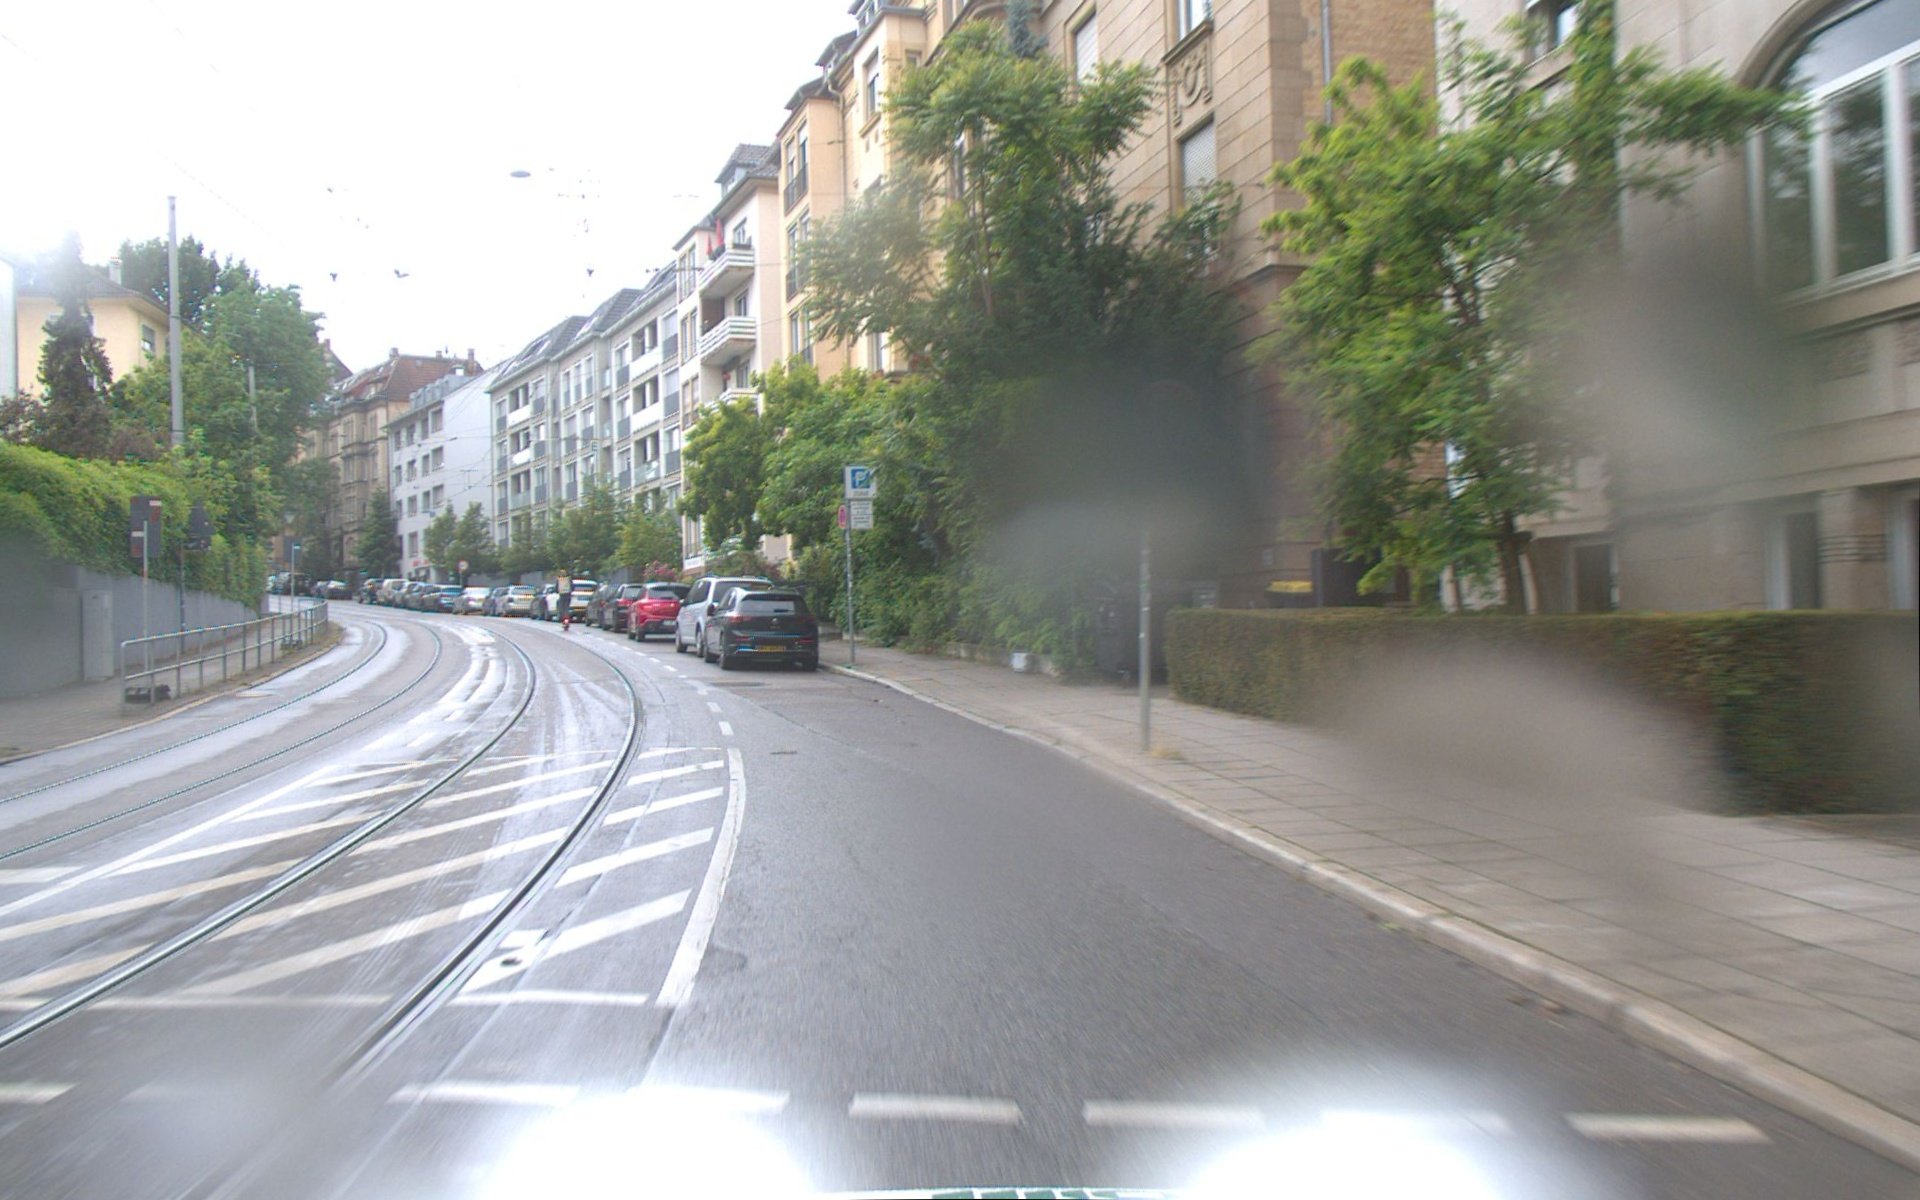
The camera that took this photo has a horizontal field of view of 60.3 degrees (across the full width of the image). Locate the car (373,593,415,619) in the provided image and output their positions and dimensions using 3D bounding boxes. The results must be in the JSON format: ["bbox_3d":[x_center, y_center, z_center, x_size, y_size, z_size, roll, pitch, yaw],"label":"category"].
[{"bbox_3d":[-39.078,0.432,114.155,1.750,1.713,4.200,1,0,-32],"label":"car"}]

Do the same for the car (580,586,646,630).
[{"bbox_3d":[-11.934,0.262,56.664,1.534,1.462,4.275,0,0,-21],"label":"car"}]

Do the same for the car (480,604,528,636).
[{"bbox_3d":[-23.051,1.010,83.615,1.681,1.538,3.683,1,0,-26],"label":"car"}]

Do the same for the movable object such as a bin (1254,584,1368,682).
[{"bbox_3d":[5.093,0.472,24.062,1.197,1.331,1.163,-2,0,-15],"label":"movable object such as a bin"}]

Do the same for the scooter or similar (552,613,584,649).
[{"bbox_3d":[-12.305,0.966,51.879,0.507,1.068,1.992,2,-1,-26],"label":"scooter or similar"}]

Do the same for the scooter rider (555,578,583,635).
[{"bbox_3d":[-12.238,0.204,51.753,0.615,1.735,0.837,2,-1,-27],"label":"scooter rider"}]

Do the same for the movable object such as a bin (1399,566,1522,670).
[{"bbox_3d":[7.443,0.263,24.637,1.210,1.449,1.303,-3,0,-15],"label":"movable object such as a bin"}]

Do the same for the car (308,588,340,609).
[{"bbox_3d":[-51.529,-0.128,133.972,1.635,1.562,3.844,-3,2,-33],"label":"car"}]

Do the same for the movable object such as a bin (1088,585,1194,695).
[{"bbox_3d":[2.523,0.543,23.086,1.208,1.427,0.817,-3,2,-22],"label":"movable object such as a bin"}]

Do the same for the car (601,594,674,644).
[{"bbox_3d":[-9.992,0.558,51.053,1.658,1.462,4.041,0,0,-20],"label":"car"}]

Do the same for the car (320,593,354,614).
[{"bbox_3d":[-48.972,0.268,129.923,1.749,1.544,4.095,1,0,-31],"label":"car"}]

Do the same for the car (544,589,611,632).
[{"bbox_3d":[-14.976,0.396,64.576,1.813,1.600,4.217,2,0,-23],"label":"car"}]

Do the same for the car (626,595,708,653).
[{"bbox_3d":[-7.769,0.594,43.585,1.694,1.462,3.823,0,0,-17],"label":"car"}]

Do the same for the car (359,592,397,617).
[{"bbox_3d":[-41.677,0.318,118.361,1.749,1.713,4.203,1,0,-31],"label":"car"}]

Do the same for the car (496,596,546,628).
[{"bbox_3d":[-21.134,0.607,79.564,1.640,1.497,4.473,1,-1,-24],"label":"car"}]

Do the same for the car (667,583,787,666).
[{"bbox_3d":[-5.072,0.489,35.575,1.739,1.631,4.264,-2,0,-19],"label":"car"}]

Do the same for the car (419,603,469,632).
[{"bbox_3d":[-30.881,1.053,98.937,1.751,1.643,4.197,-1,0,-34],"label":"car"}]

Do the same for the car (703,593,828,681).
[{"bbox_3d":[-3.665,0.630,30.568,1.736,1.415,3.984,0,1,-15],"label":"car"}]

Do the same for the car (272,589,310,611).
[{"bbox_3d":[-57.307,-0.019,141.623,2.011,1.856,4.313,1,0,-35],"label":"car"}]

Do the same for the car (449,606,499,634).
[{"bbox_3d":[-26.505,1.075,90.140,1.742,1.460,4.596,-1,0,-28],"label":"car"}]
